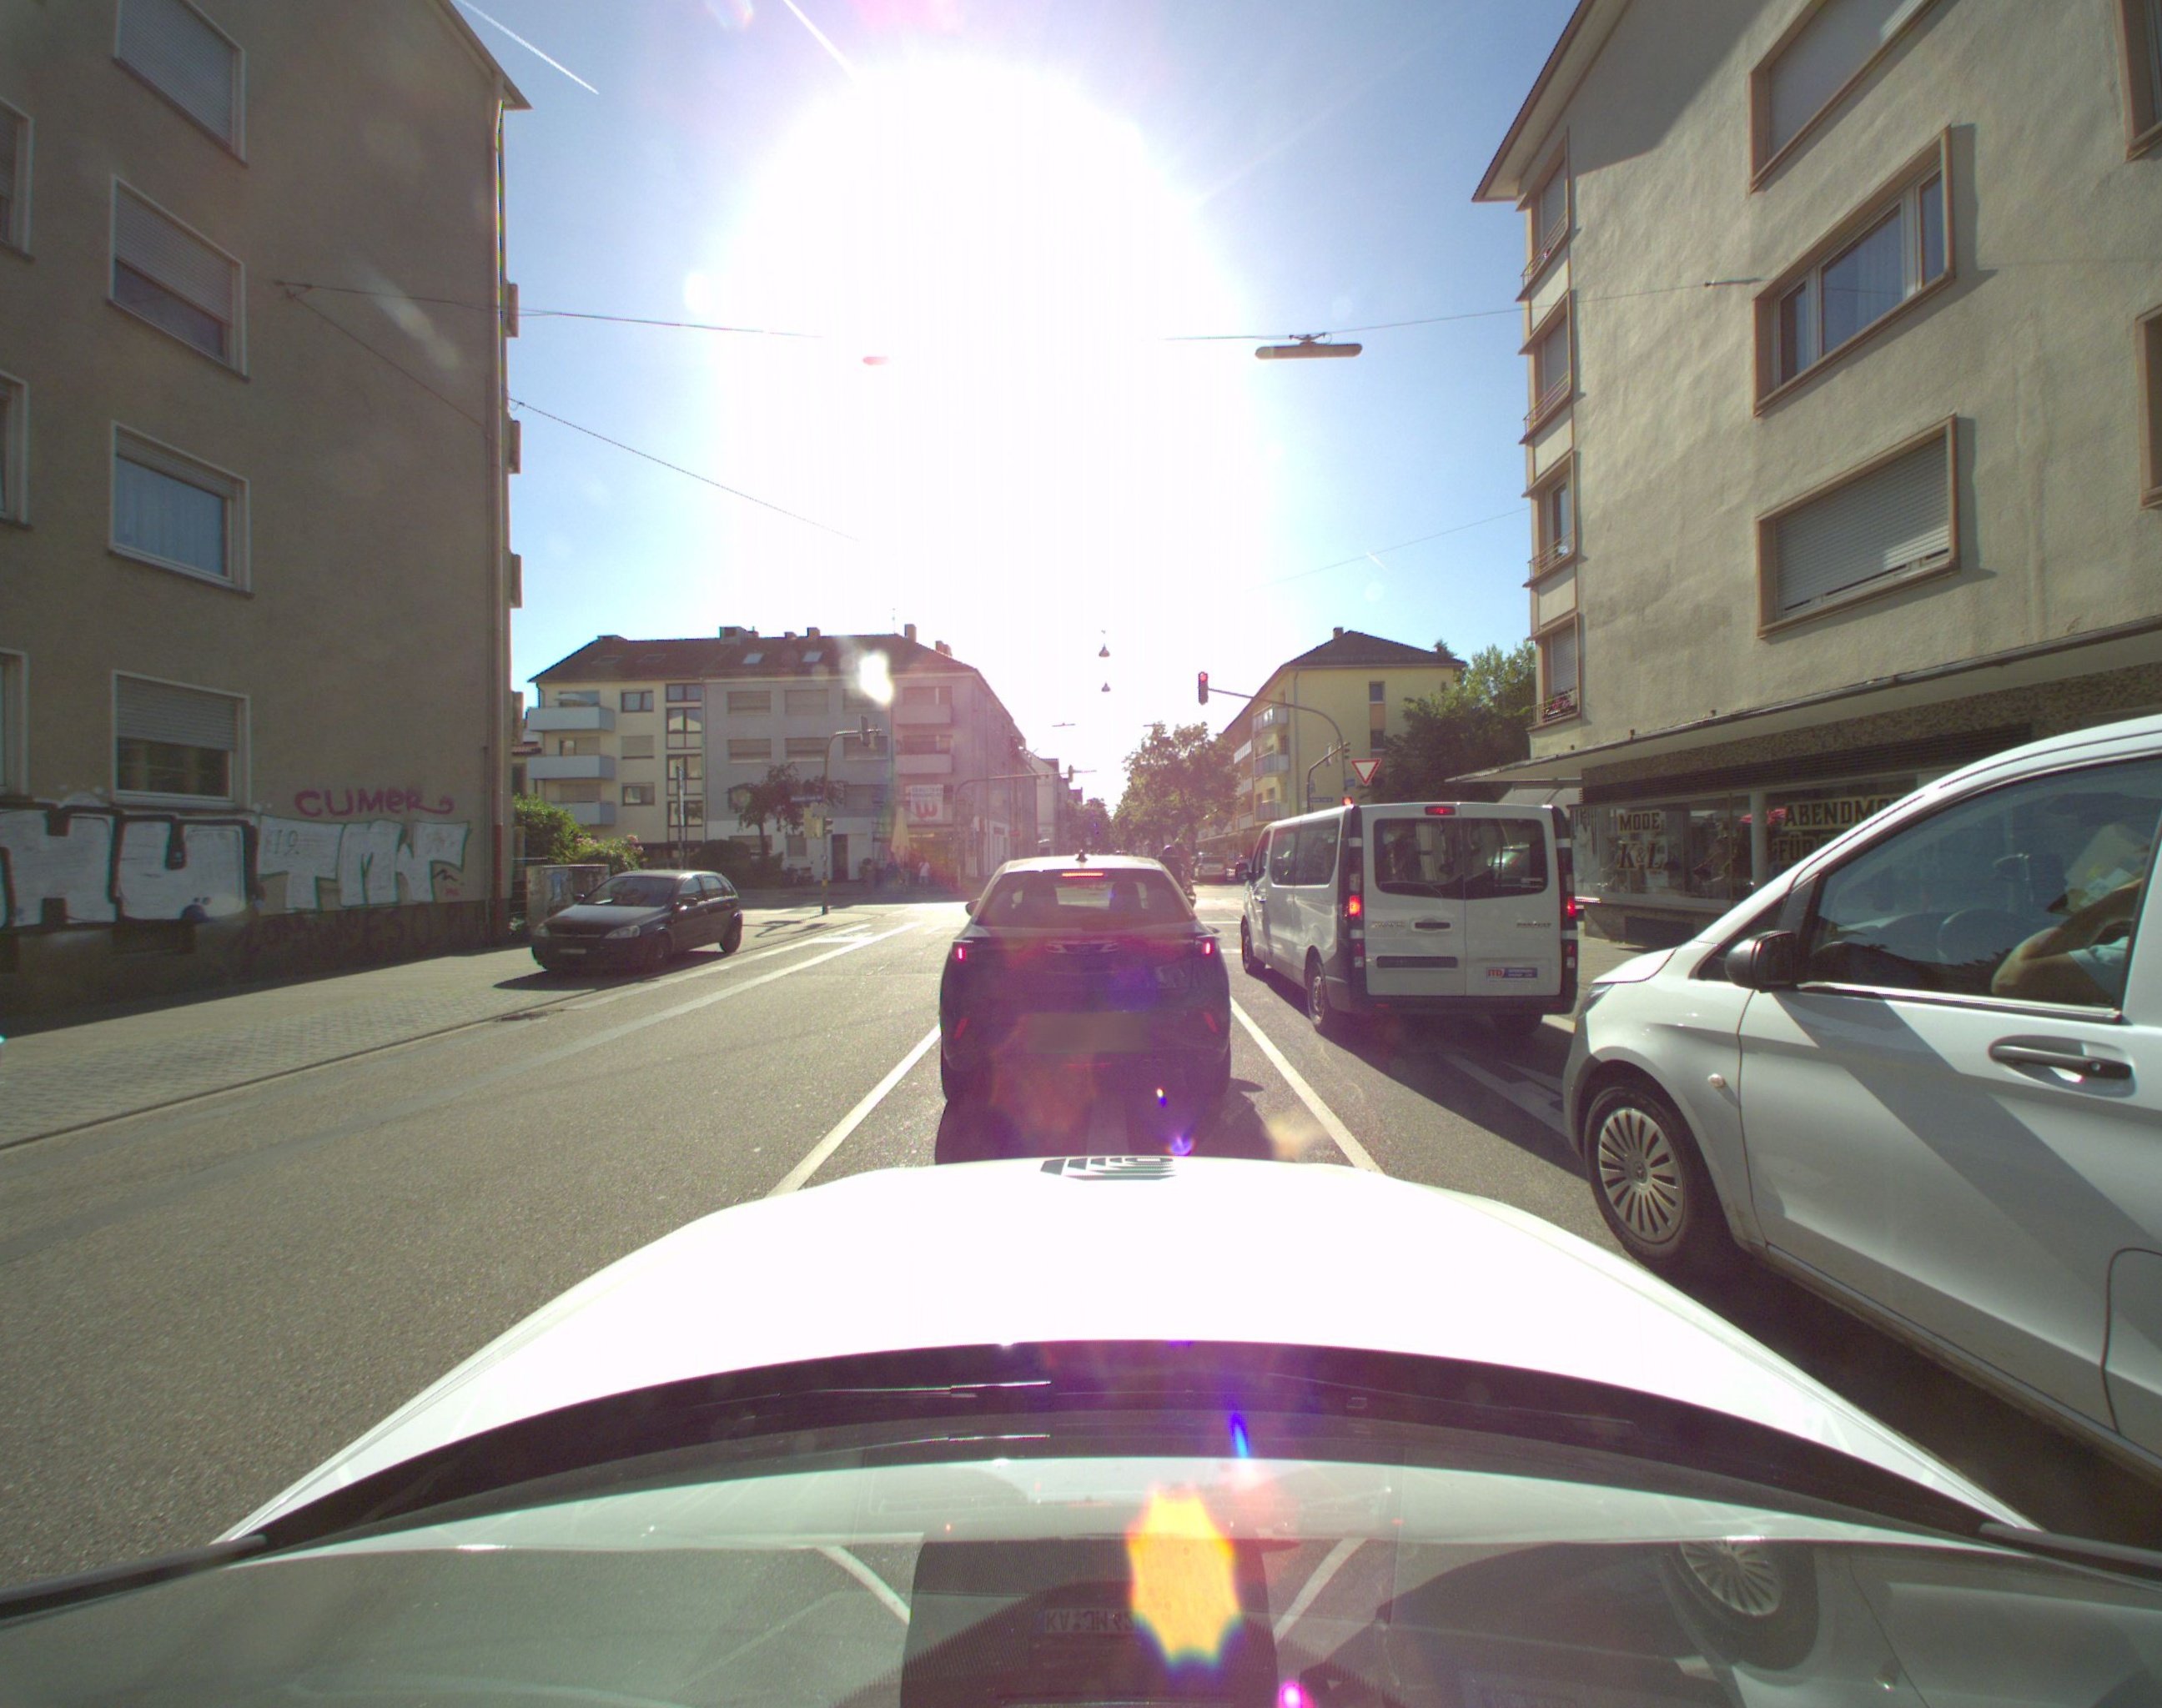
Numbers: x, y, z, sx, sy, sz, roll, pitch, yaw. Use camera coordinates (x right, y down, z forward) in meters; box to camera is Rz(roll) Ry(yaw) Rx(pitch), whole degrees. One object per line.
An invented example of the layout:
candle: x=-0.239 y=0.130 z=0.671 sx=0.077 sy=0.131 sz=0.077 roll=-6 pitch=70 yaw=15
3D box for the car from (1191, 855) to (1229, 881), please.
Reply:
car: x=7.429 y=0.768 z=47.223 sx=1.628 sy=1.433 sz=3.958 roll=-1 pitch=0 yaw=2

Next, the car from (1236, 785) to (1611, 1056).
car: x=2.996 y=0.491 z=8.474 sx=1.986 sy=1.979 sz=4.897 roll=1 pitch=0 yaw=2

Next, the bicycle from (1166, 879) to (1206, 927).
bicycle: x=2.270 y=1.040 z=17.874 sx=0.575 sy=0.904 sz=2.301 roll=-1 pitch=0 yaw=0

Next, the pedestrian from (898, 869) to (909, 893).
pedestrian: x=-8.246 y=1.257 z=37.837 sx=0.354 sy=1.092 sz=0.461 roll=-1 pitch=0 yaw=-1

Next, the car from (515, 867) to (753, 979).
car: x=-6.754 y=0.954 z=12.802 sx=1.610 sy=1.425 sz=3.711 roll=1 pitch=0 yaw=1

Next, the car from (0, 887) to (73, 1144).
car: x=-7.151 y=0.924 z=2.611 sx=1.711 sy=1.465 sz=4.817 roll=2 pitch=0 yaw=2

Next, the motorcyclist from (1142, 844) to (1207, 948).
motorcyclist: x=1.405 y=0.608 z=12.426 sx=0.861 sy=1.502 sz=1.160 roll=-1 pitch=0 yaw=1

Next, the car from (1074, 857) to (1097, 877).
car: x=0.410 y=1.153 z=73.110 sx=1.817 sy=1.728 sz=4.004 roll=-1 pitch=0 yaw=3

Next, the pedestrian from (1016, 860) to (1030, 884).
pedestrian: x=-3.089 y=0.956 z=43.513 sx=0.704 sy=1.253 sz=0.802 roll=-1 pitch=0 yaw=0

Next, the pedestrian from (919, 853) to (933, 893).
pedestrian: x=-7.144 y=0.866 z=37.464 sx=0.560 sy=1.775 sz=0.582 roll=-1 pitch=0 yaw=-7

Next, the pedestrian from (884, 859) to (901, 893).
pedestrian: x=-8.746 y=1.016 z=37.783 sx=0.582 sy=1.521 sz=0.649 roll=-1 pitch=0 yaw=-1

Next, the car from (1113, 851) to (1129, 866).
car: x=4.792 y=0.484 z=97.327 sx=1.894 sy=1.728 sz=4.076 roll=-1 pitch=0 yaw=3

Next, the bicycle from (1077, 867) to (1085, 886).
bicycle: x=-0.002 y=1.200 z=43.810 sx=0.442 sy=0.992 sz=2.068 roll=-1 pitch=0 yaw=0

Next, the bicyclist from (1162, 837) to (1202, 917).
bicyclist: x=2.237 y=0.491 z=18.232 sx=0.687 sy=1.712 sz=1.414 roll=-1 pitch=0 yaw=0

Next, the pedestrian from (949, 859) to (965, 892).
pedestrian: x=-5.807 y=1.004 z=38.016 sx=0.615 sy=1.521 sz=0.724 roll=-1 pitch=0 yaw=-1

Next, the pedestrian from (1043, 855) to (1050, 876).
pedestrian: x=-2.749 y=0.905 z=65.292 sx=0.486 sy=1.690 sz=0.588 roll=-1 pitch=0 yaw=1

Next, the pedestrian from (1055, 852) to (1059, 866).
pedestrian: x=-2.911 y=0.655 z=99.273 sx=0.400 sy=1.675 sz=0.418 roll=-1 pitch=0 yaw=1

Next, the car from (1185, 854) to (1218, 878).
car: x=7.647 y=0.737 z=51.902 sx=1.628 sy=1.433 sz=4.002 roll=-1 pitch=0 yaw=2

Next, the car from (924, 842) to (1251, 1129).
car: x=0.042 y=0.716 z=6.452 sx=1.765 sy=1.530 sz=3.999 roll=-1 pitch=0 yaw=0

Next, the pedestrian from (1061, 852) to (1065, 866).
pedestrian: x=-2.216 y=0.647 z=99.219 sx=0.400 sy=1.675 sz=0.418 roll=-1 pitch=0 yaw=1

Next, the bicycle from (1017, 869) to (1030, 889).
bicycle: x=-3.072 y=1.305 z=43.464 sx=0.520 sy=0.992 sz=2.339 roll=-1 pitch=0 yaw=0

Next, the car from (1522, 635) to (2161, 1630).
car: x=2.935 y=0.512 z=1.220 sx=1.830 sy=1.869 sz=4.995 roll=-1 pitch=0 yaw=0

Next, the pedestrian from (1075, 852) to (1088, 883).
pedestrian: x=0.031 y=0.726 z=43.526 sx=0.678 sy=1.606 sz=0.762 roll=-1 pitch=0 yaw=0

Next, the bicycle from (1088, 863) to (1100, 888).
bicycle: x=0.626 y=1.043 z=39.953 sx=0.520 sy=1.147 sz=2.170 roll=-1 pitch=0 yaw=0

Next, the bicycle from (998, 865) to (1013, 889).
bicycle: x=-3.869 y=1.153 z=41.669 sx=0.520 sy=1.147 sz=2.283 roll=-1 pitch=0 yaw=0

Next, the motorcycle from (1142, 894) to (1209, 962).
motorcycle: x=1.377 y=1.071 z=12.268 sx=0.822 sy=0.845 sz=1.885 roll=-1 pitch=0 yaw=1

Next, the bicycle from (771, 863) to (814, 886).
bicycle: x=-15.301 y=1.076 z=43.166 sx=2.103 sy=1.172 sz=0.735 roll=-1 pitch=0 yaw=-22

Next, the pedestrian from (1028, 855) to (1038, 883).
pedestrian: x=-2.934 y=0.927 z=49.824 sx=0.568 sy=1.690 sz=0.588 roll=-1 pitch=0 yaw=1

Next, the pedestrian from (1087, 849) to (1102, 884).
pedestrian: x=0.665 y=0.595 z=39.863 sx=0.704 sy=1.701 sz=0.802 roll=-1 pitch=0 yaw=0

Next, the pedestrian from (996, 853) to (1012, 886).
pedestrian: x=-3.916 y=0.800 z=41.610 sx=0.704 sy=1.678 sz=0.802 roll=-1 pitch=0 yaw=0
